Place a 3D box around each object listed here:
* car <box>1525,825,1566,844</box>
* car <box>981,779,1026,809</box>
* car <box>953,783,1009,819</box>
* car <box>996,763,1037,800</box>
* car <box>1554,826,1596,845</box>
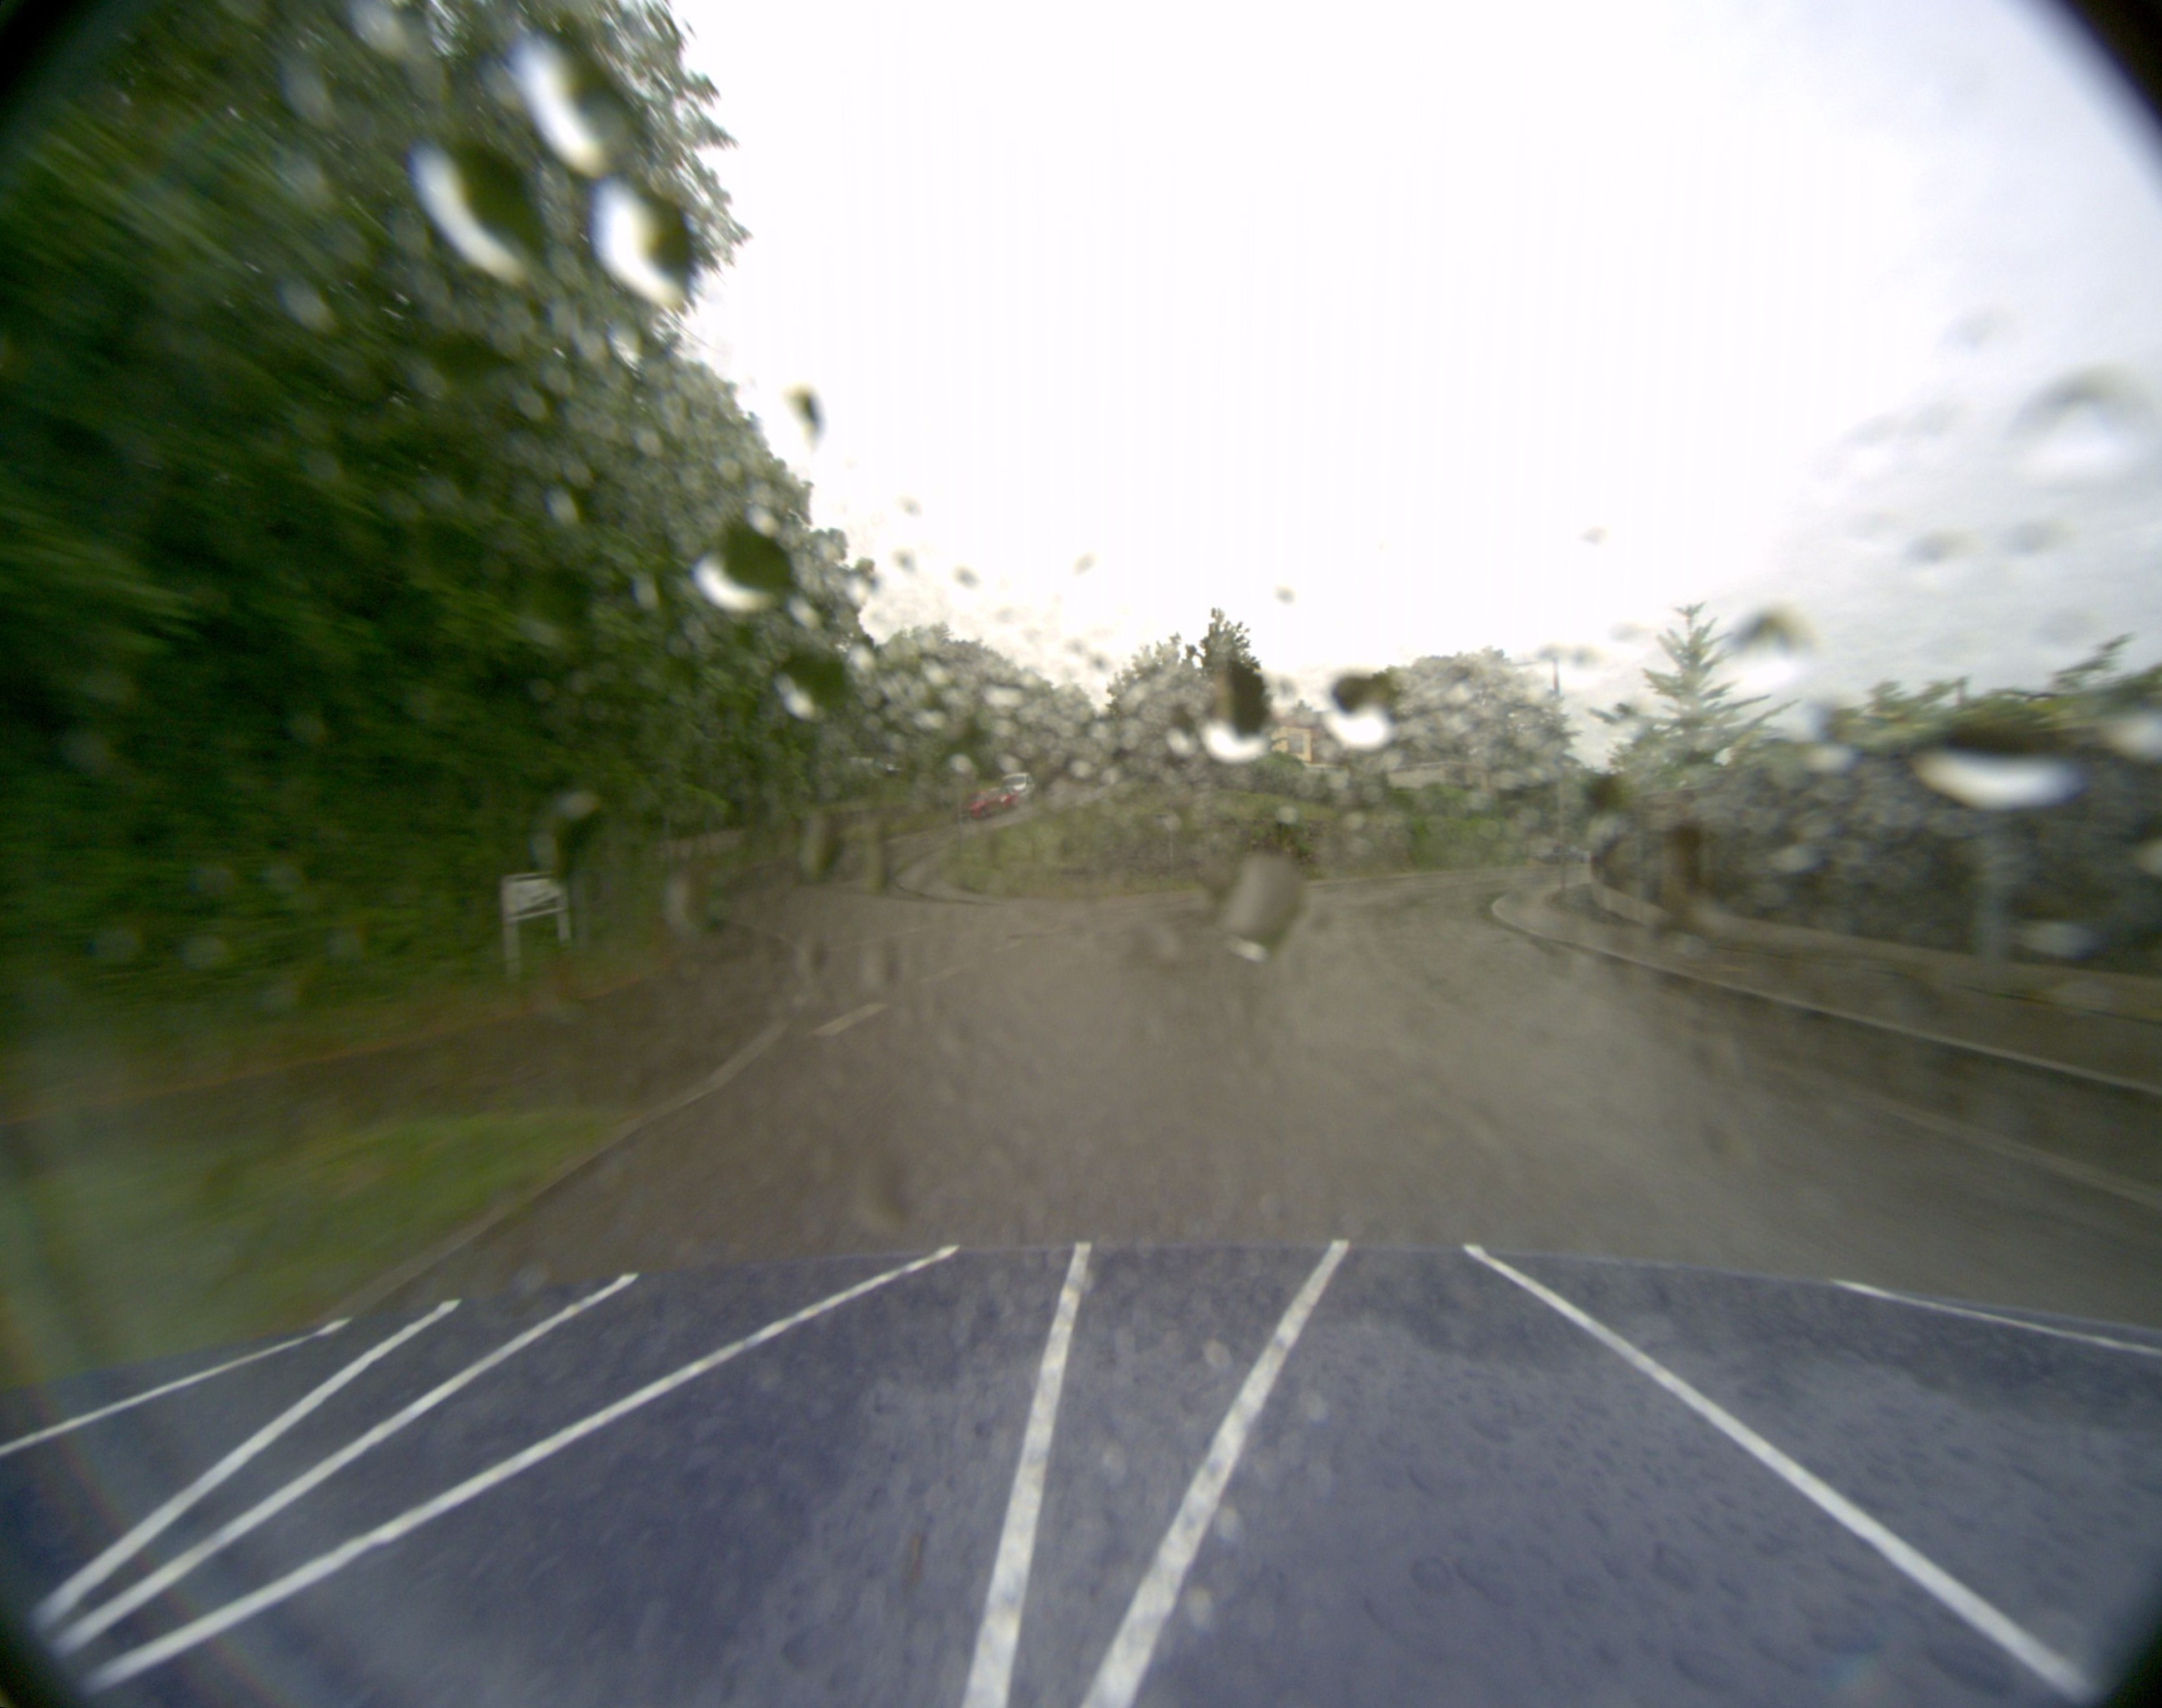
[{"bbox_3d":[40.175,-1.733,65.677,4.017,1.555,1.811,-3,3,-40],"label":"car"},{"bbox_3d":[-4.929,-3.901,49.110,1.874,1.399,3.995,-2,11,9],"label":"car"},{"bbox_3d":[-5.854,-3.157,44.917,1.873,1.504,3.996,-1,11,14],"label":"car"},{"bbox_3d":[-4.572,-5.265,54.594,2.270,1.938,5.442,-4,11,1],"label":"car"},{"bbox_3d":[45.338,-1.744,69.682,4.552,1.661,1.994,-3,3,-41],"label":"car"}]
